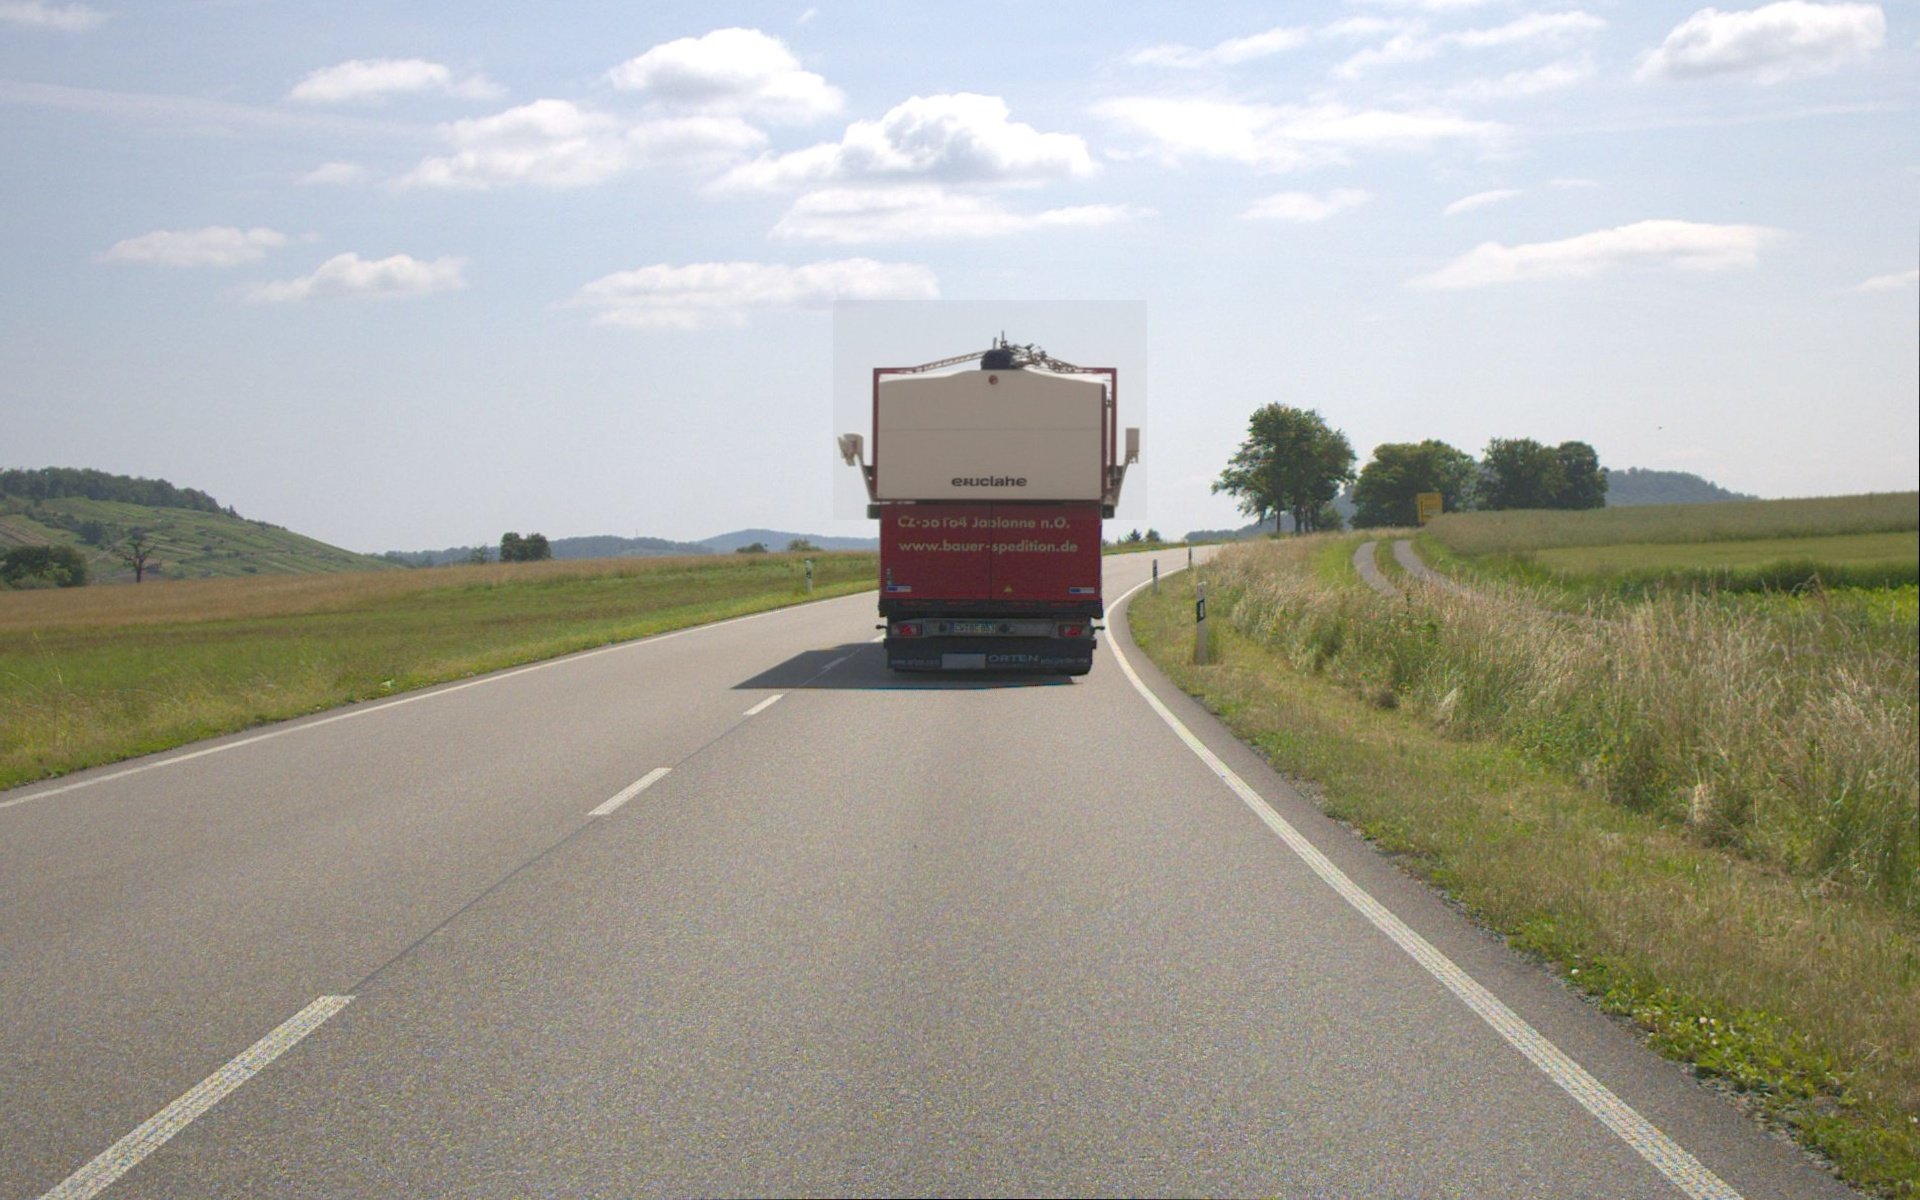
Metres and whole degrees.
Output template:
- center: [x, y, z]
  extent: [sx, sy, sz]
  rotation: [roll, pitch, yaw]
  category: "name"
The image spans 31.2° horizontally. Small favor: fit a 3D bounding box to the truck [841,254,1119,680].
- center: [0.243, -1.559, 43.384]
  extent: [2.975, 4.697, 9.366]
  rotation: [2, 1, 0]
  category: "truck"
